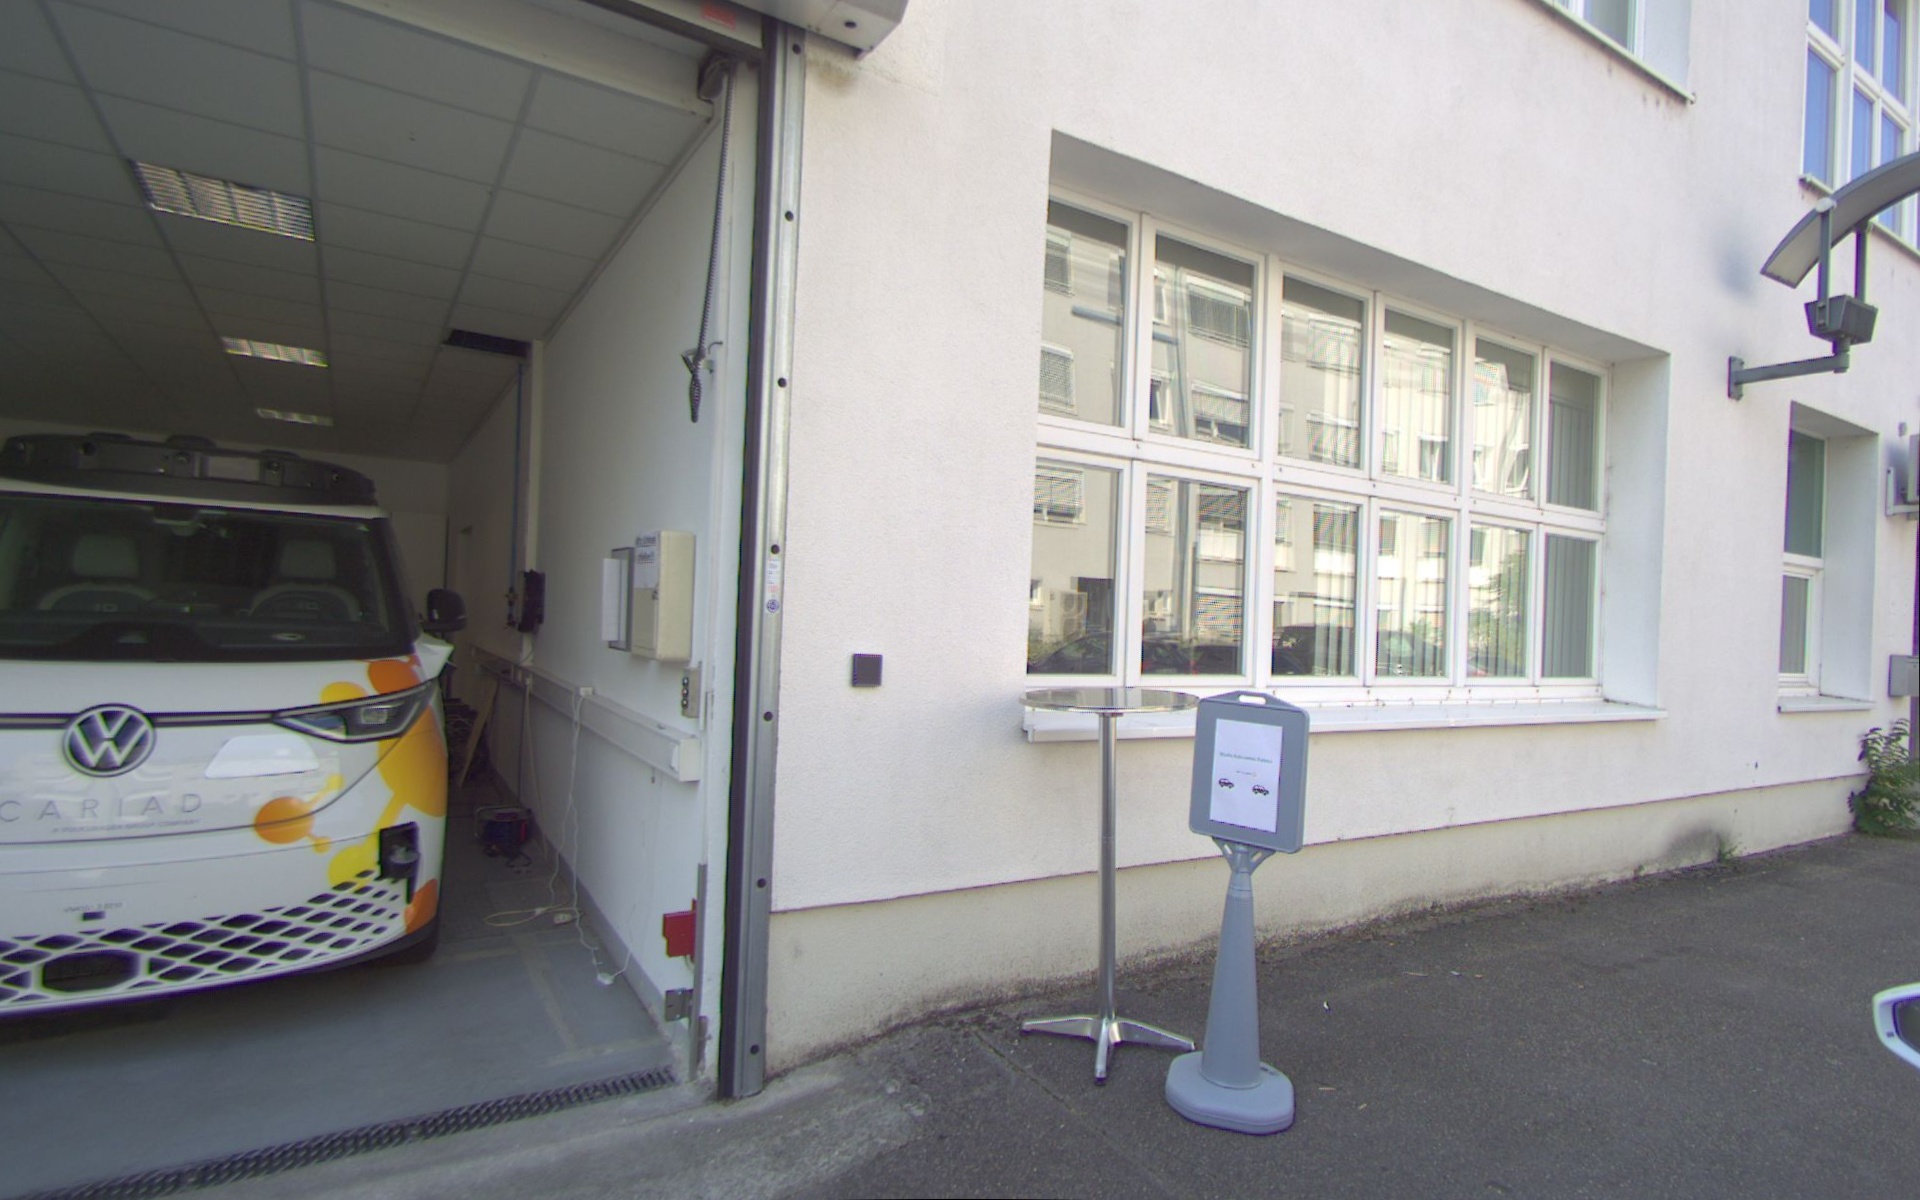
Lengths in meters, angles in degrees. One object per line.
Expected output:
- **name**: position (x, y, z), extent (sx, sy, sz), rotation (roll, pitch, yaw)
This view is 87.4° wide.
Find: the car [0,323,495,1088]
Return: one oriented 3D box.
- **car**: position (-3.705, 0.231, 4.903), extent (2.033, 2.120, 4.722), rotation (4, 0, -31)
